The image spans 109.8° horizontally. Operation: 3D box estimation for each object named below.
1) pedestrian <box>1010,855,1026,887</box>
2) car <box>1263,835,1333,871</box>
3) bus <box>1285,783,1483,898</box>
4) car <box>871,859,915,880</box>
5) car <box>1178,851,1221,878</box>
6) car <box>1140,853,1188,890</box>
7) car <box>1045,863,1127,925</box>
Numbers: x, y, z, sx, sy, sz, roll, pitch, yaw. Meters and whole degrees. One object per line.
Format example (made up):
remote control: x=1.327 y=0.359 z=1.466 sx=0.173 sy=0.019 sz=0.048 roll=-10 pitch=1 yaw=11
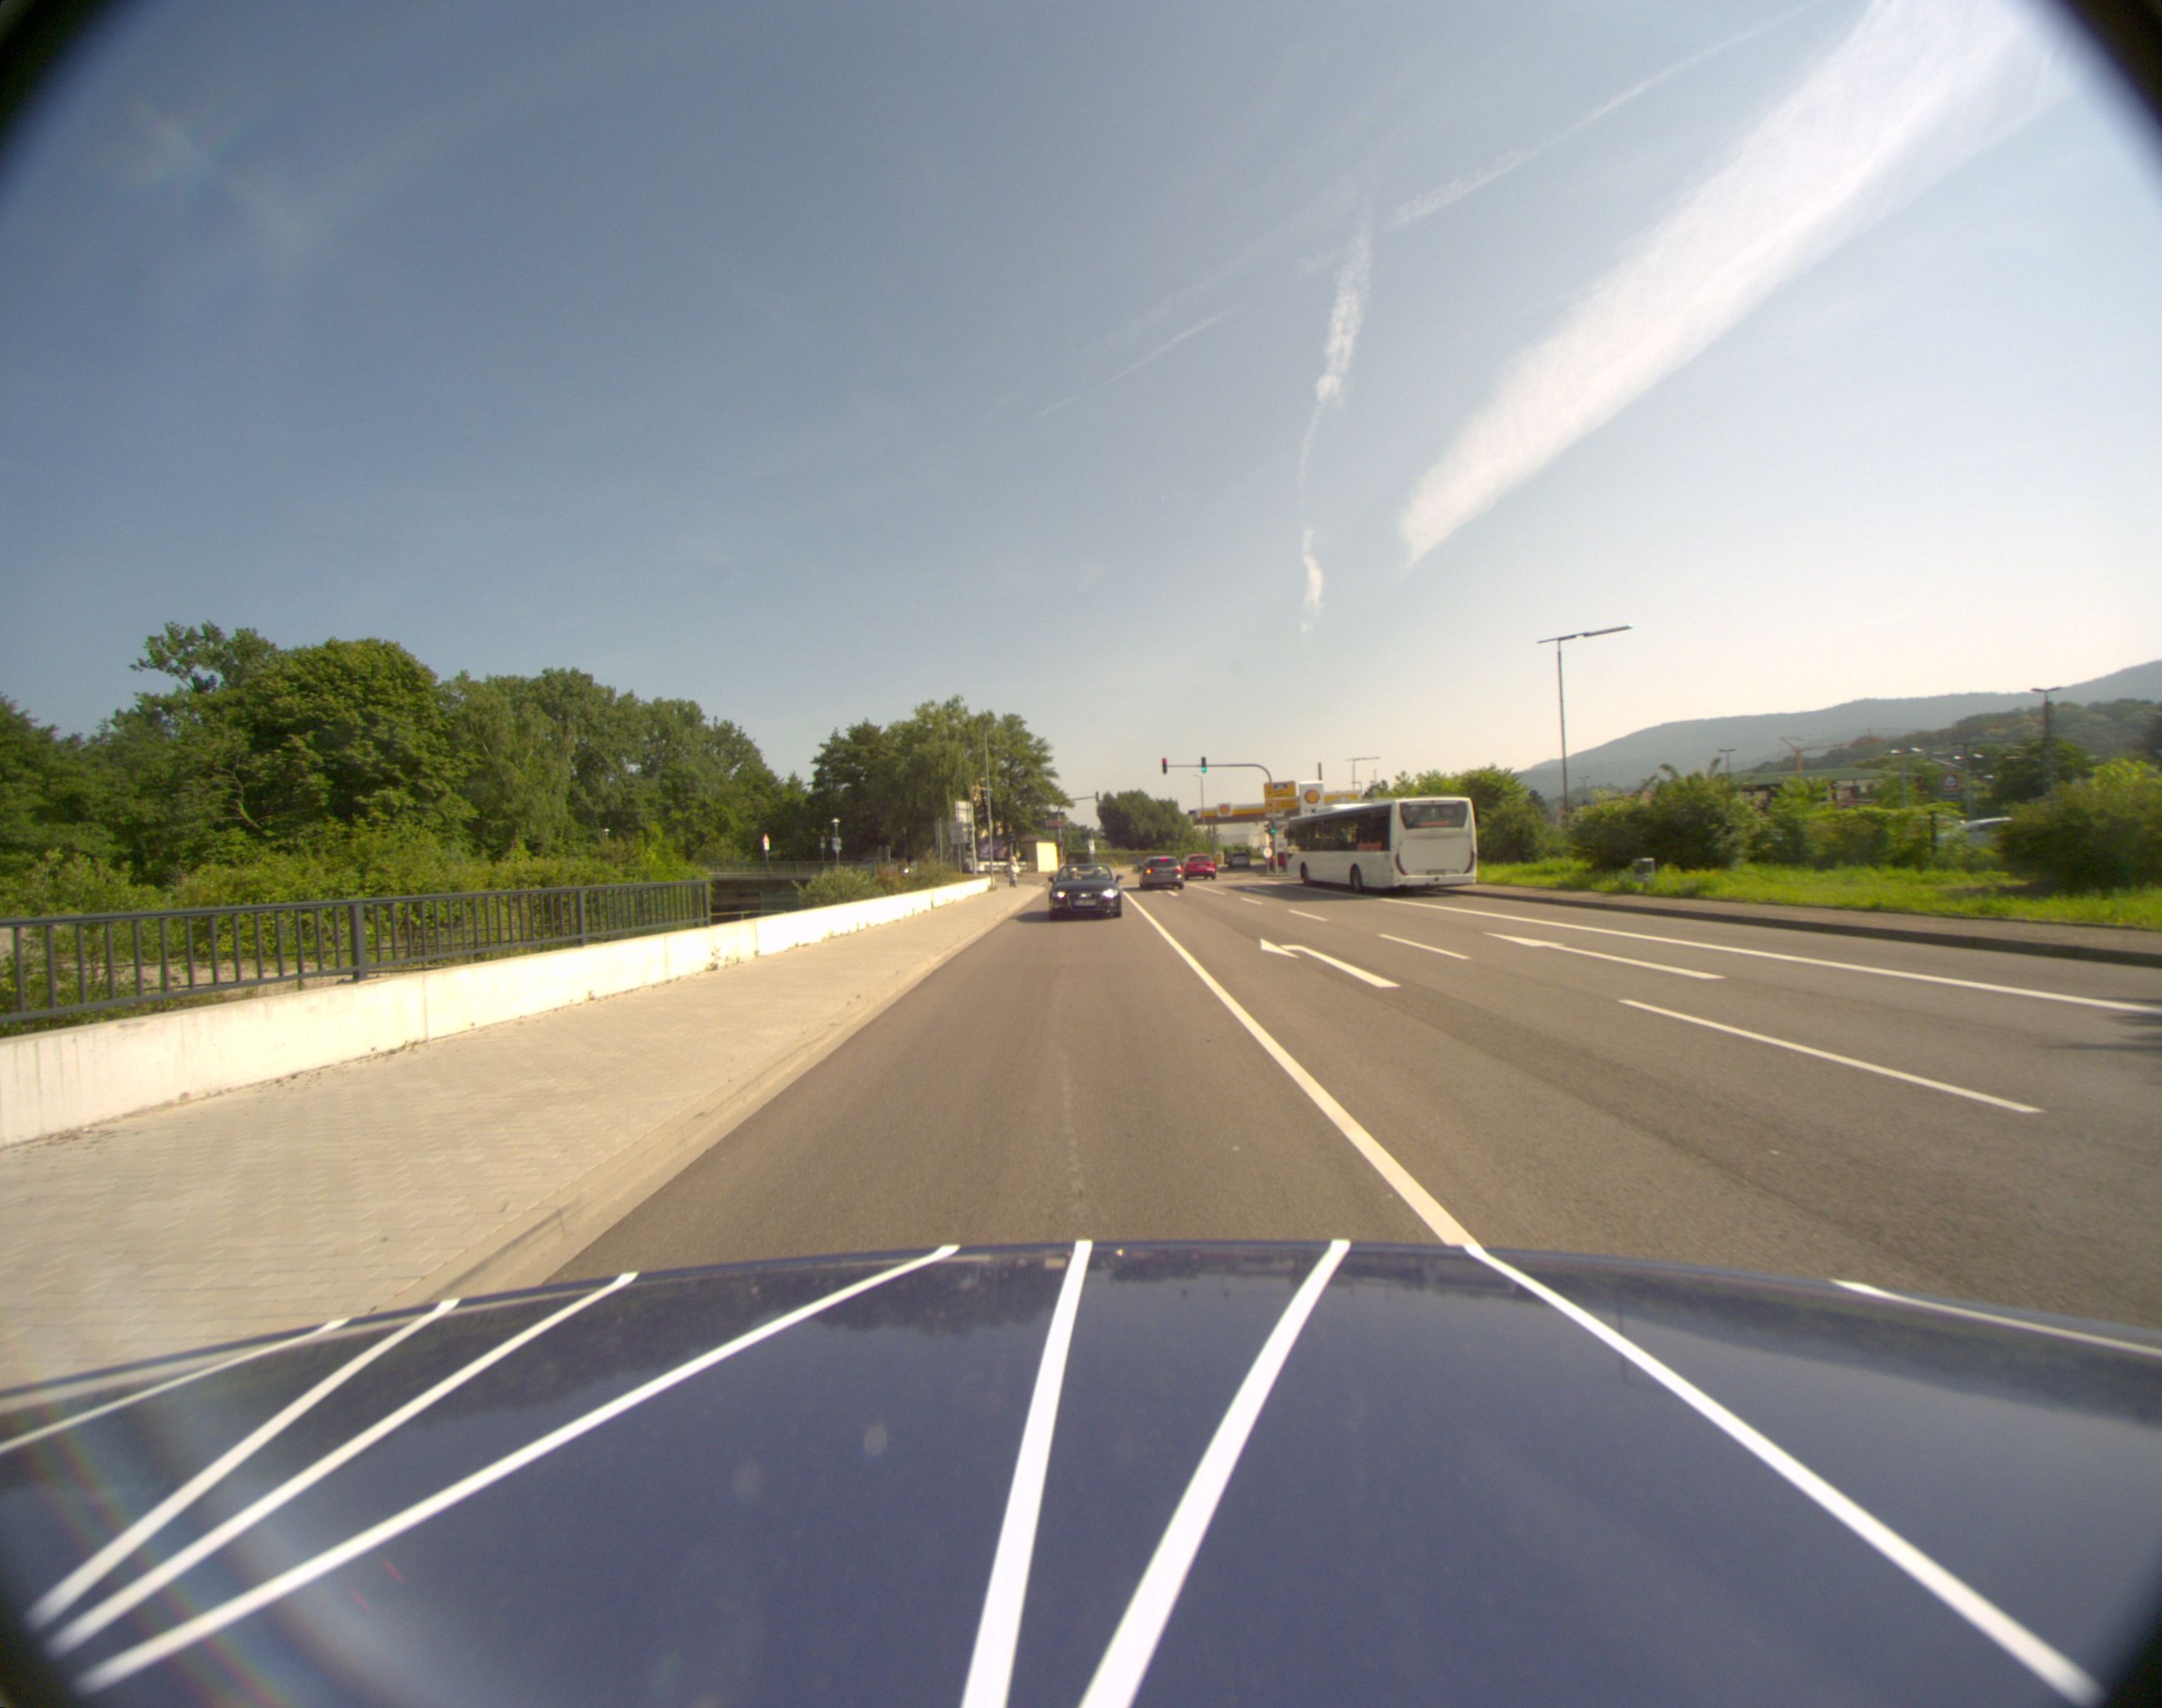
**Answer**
pedestrian: x=-3.328 y=0.883 z=40.184 sx=0.713 sy=1.661 sz=0.592 roll=-2 pitch=1 yaw=-8
car: x=13.295 y=-0.037 z=46.751 sx=3.783 sy=1.785 sz=1.703 roll=-6 pitch=0 yaw=6
bus: x=10.525 y=-0.425 z=28.323 sx=2.627 sy=3.291 sz=11.956 roll=-2 pitch=0 yaw=1
car: x=-14.729 y=1.154 z=59.392 sx=1.671 sy=1.509 sz=4.072 roll=-1 pitch=1 yaw=-41
car: x=6.951 y=0.593 z=45.063 sx=1.842 sy=1.483 sz=4.431 roll=-2 pitch=0 yaw=0
car: x=3.642 y=0.743 z=33.929 sx=1.776 sy=1.464 sz=4.220 roll=-2 pitch=0 yaw=1
car: x=0.222 y=0.967 z=19.893 sx=1.868 sy=1.323 sz=4.233 roll=-2 pitch=0 yaw=3
